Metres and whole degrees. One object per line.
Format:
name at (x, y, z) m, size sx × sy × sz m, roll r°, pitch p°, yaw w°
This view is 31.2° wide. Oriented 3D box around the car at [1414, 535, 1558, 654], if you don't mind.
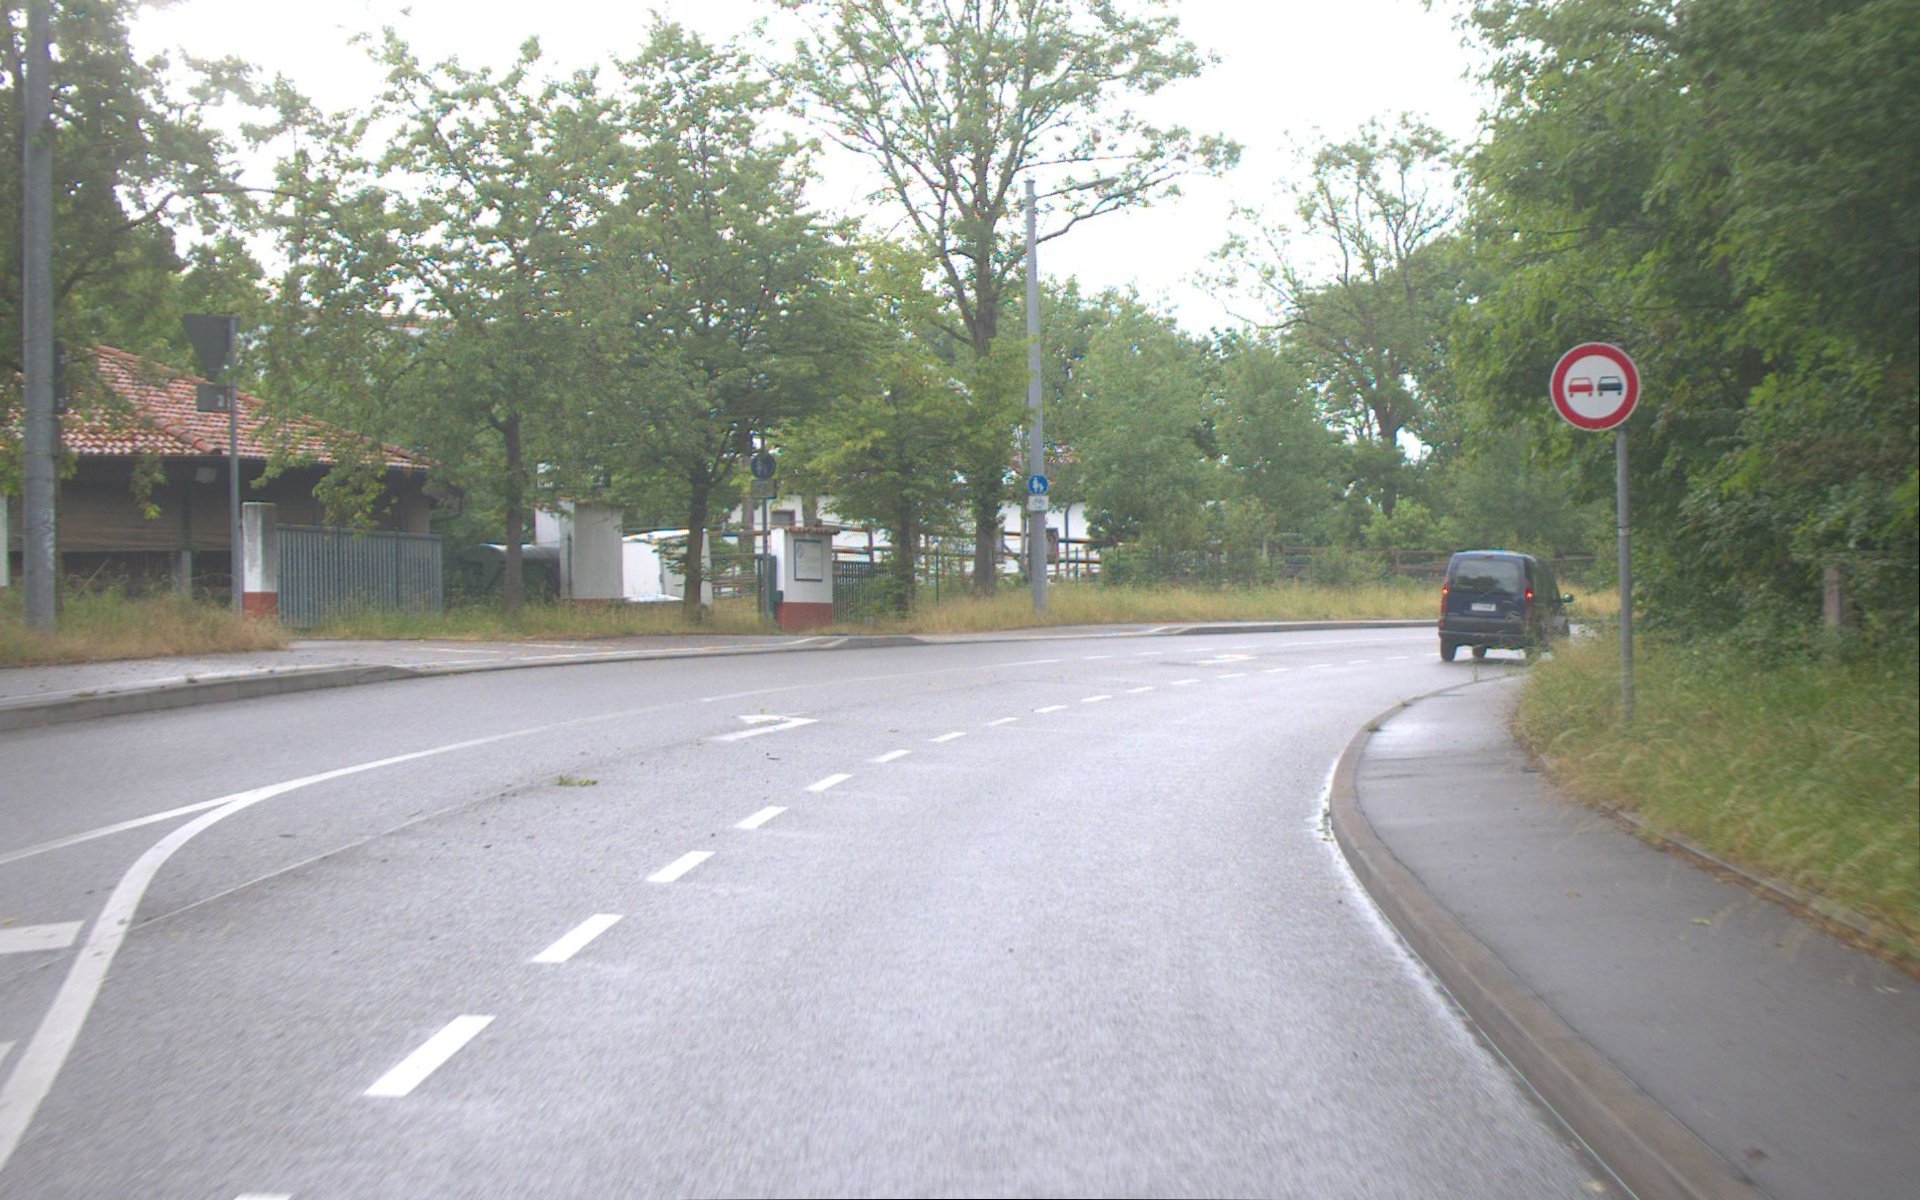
car at (8.852, -0.085, 57.622) m, size 1.828 × 1.788 × 3.997 m, roll -4°, pitch -1°, yaw 15°
